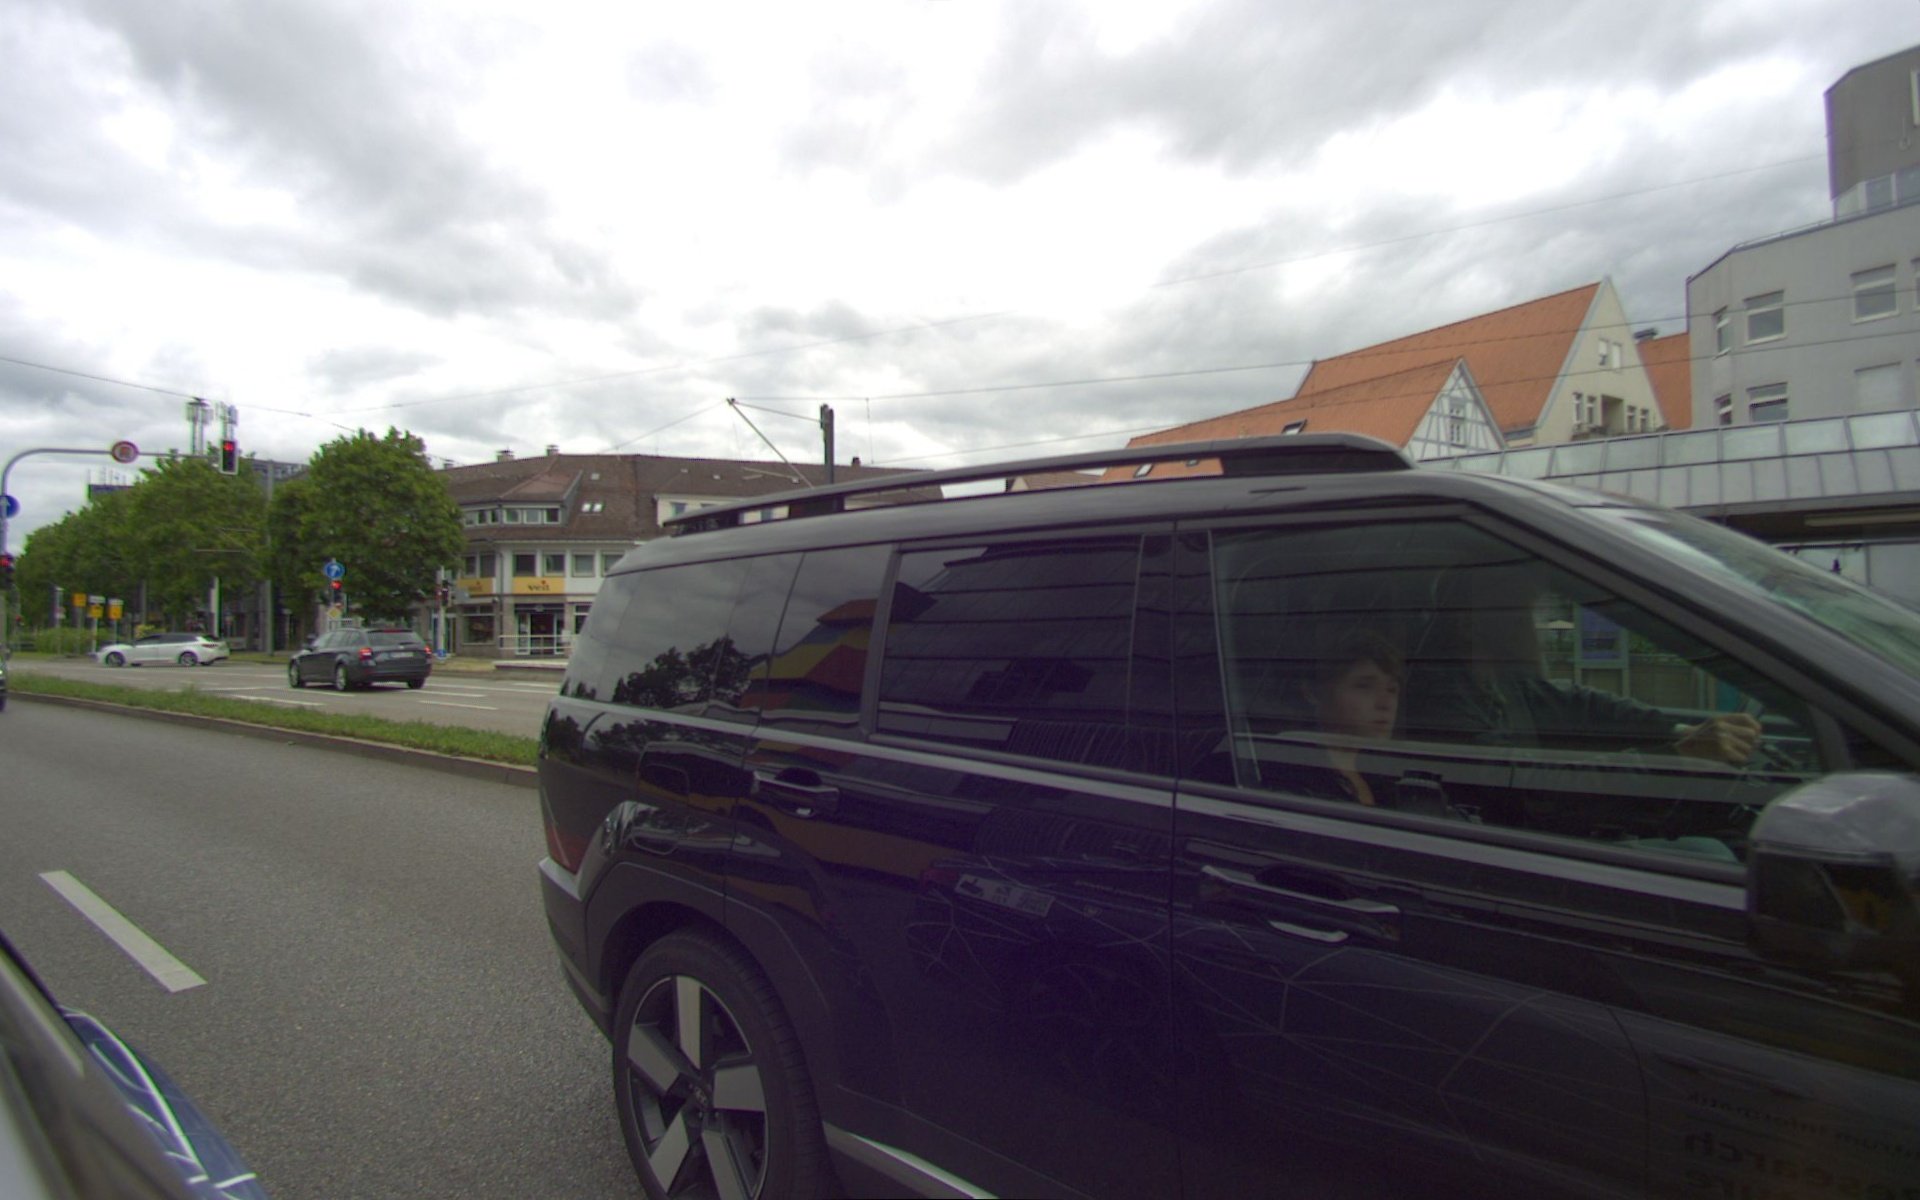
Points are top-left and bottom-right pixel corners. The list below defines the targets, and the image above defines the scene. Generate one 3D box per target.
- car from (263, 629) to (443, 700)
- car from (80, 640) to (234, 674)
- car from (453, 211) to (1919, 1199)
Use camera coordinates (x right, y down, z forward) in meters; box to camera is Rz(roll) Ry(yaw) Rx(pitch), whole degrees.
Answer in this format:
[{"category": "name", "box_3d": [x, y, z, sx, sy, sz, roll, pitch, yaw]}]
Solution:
[{"category": "car", "box_3d": [-14.304, 1.457, 23.775, 4.635, 1.524, 1.975, -2, -3, 36]}, {"category": "car", "box_3d": [-34.311, 2.424, 43.402, 4.728, 1.367, 2.006, 0, -2, -18]}, {"category": "car", "box_3d": [0.987, 0.543, 2.039, 4.674, 1.765, 1.903, -1, -1, 40]}]
